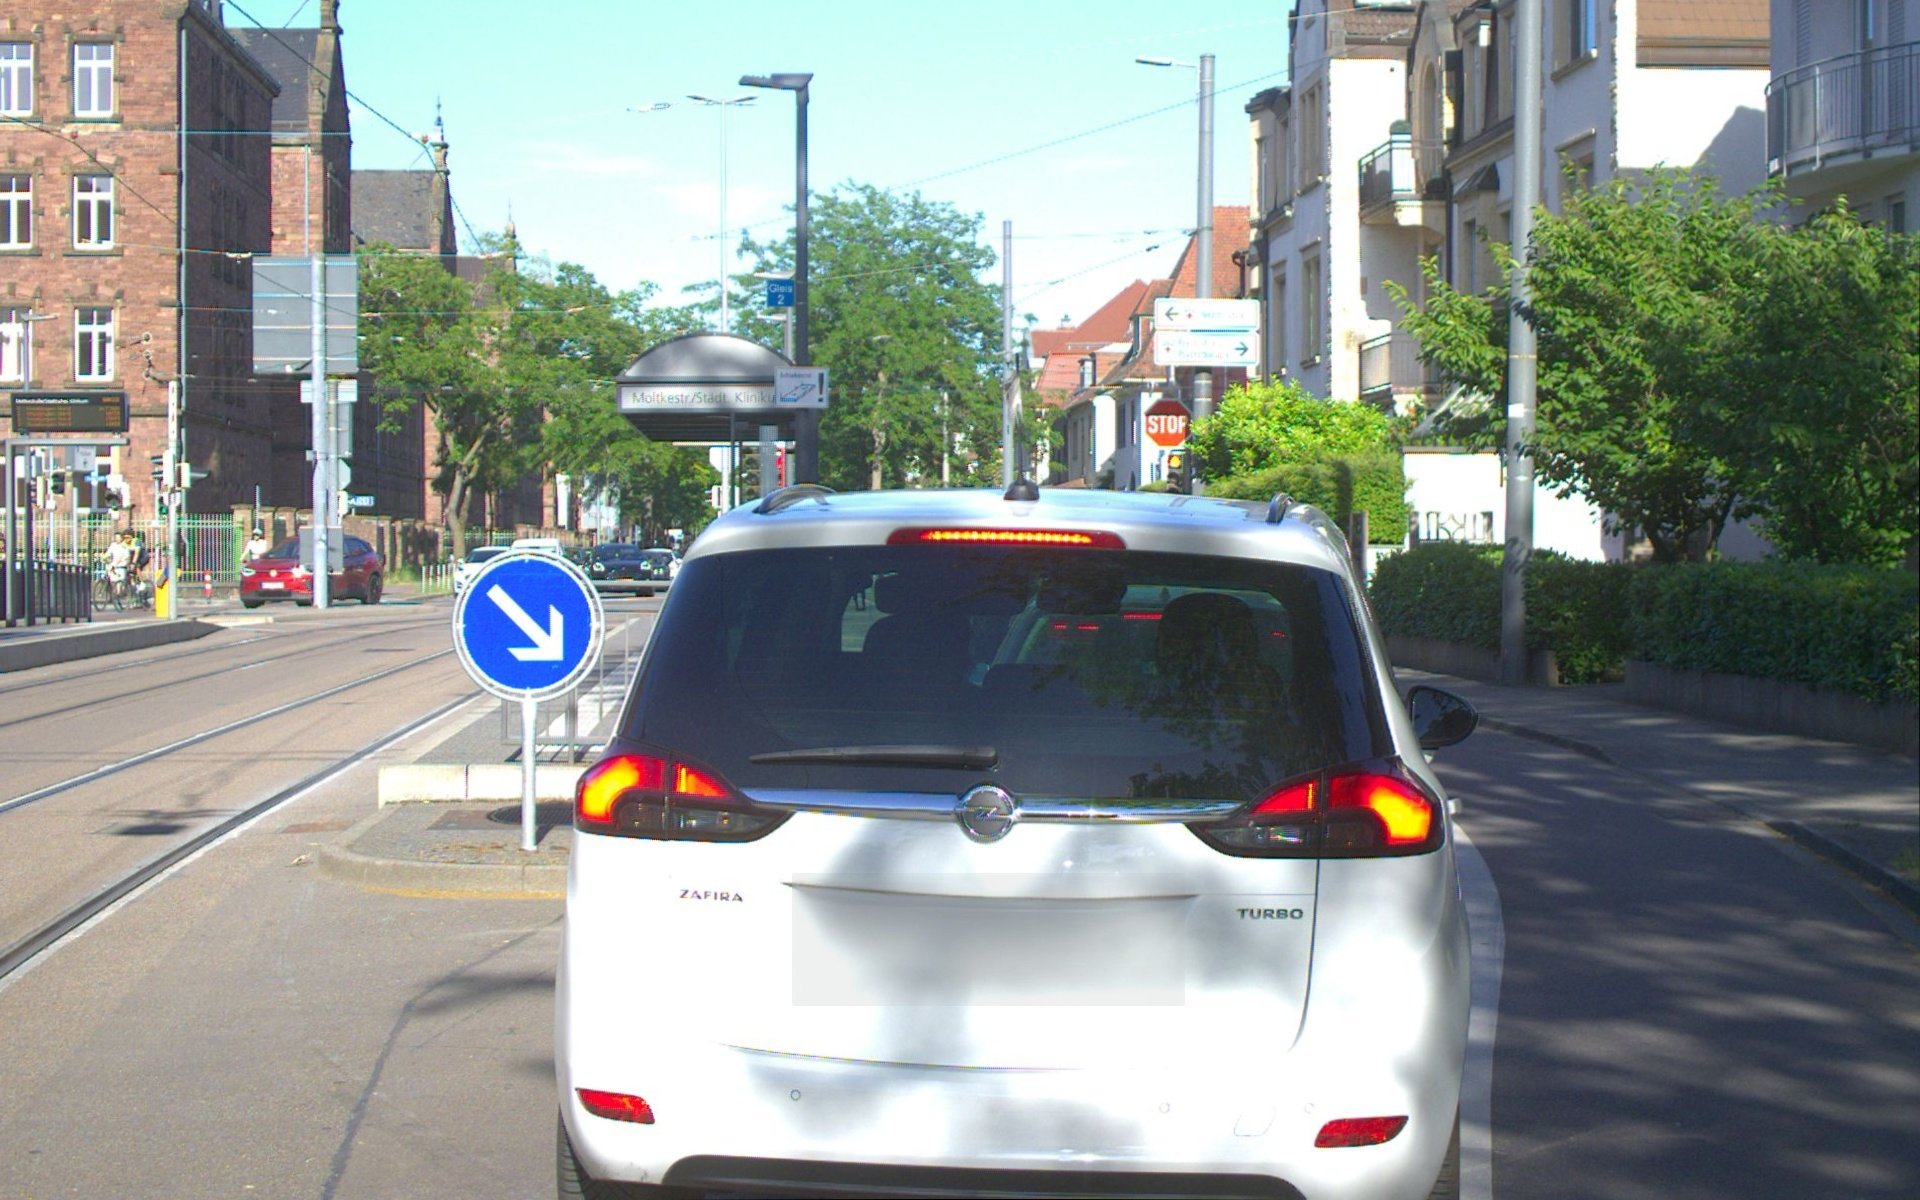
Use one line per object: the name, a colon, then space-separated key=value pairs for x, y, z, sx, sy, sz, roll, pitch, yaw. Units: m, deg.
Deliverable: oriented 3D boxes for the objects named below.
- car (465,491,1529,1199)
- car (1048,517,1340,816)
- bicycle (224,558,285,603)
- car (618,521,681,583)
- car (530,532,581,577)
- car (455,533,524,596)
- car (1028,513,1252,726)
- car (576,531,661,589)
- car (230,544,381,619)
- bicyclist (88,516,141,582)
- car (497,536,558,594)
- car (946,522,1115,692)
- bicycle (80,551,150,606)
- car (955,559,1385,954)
car: x=0.223 y=0.569 z=8.099 sx=1.878 sy=1.579 sz=3.999 roll=1 pitch=1 yaw=5
car: x=1.465 y=0.333 z=21.040 sx=1.569 sy=1.609 sz=3.783 roll=2 pitch=1 yaw=5
bicycle: x=-17.289 y=-0.487 z=84.295 sx=0.669 sy=1.068 sz=2.014 roll=2 pitch=1 yaw=13
car: x=-10.180 y=-1.589 z=112.910 sx=1.993 sy=2.007 sz=4.001 roll=0 pitch=1 yaw=-4
car: x=-15.007 y=-1.672 z=127.672 sx=1.826 sy=1.611 sz=4.328 roll=0 pitch=0 yaw=-6
car: x=-13.721 y=-1.046 z=100.416 sx=1.698 sy=1.803 sz=4.001 roll=0 pitch=1 yaw=-3
car: x=1.463 y=0.121 z=29.175 sx=1.596 sy=1.629 sz=3.901 roll=2 pitch=1 yaw=-1
car: x=-9.603 y=-1.139 z=96.953 sx=1.993 sy=1.590 sz=4.000 roll=0 pitch=1 yaw=0
car: x=-14.352 y=-0.432 z=75.607 sx=1.818 sy=1.601 sz=4.357 roll=0 pitch=1 yaw=10
bicyclist: x=-18.802 y=-1.130 z=76.454 sx=0.756 sy=1.465 sz=1.190 roll=0 pitch=0 yaw=9
car: x=-13.687 y=-1.121 z=108.941 sx=1.826 sy=1.782 sz=4.256 roll=0 pitch=1 yaw=-6
car: x=0.693 y=0.024 z=36.292 sx=1.596 sy=1.629 sz=3.902 roll=2 pitch=1 yaw=-1
bicycle: x=-18.795 y=-0.466 z=76.505 sx=0.815 sy=1.194 sz=1.952 roll=-1 pitch=-1 yaw=9
car: x=0.947 y=0.562 z=14.790 sx=1.569 sy=1.396 sz=3.783 roll=2 pitch=1 yaw=5
